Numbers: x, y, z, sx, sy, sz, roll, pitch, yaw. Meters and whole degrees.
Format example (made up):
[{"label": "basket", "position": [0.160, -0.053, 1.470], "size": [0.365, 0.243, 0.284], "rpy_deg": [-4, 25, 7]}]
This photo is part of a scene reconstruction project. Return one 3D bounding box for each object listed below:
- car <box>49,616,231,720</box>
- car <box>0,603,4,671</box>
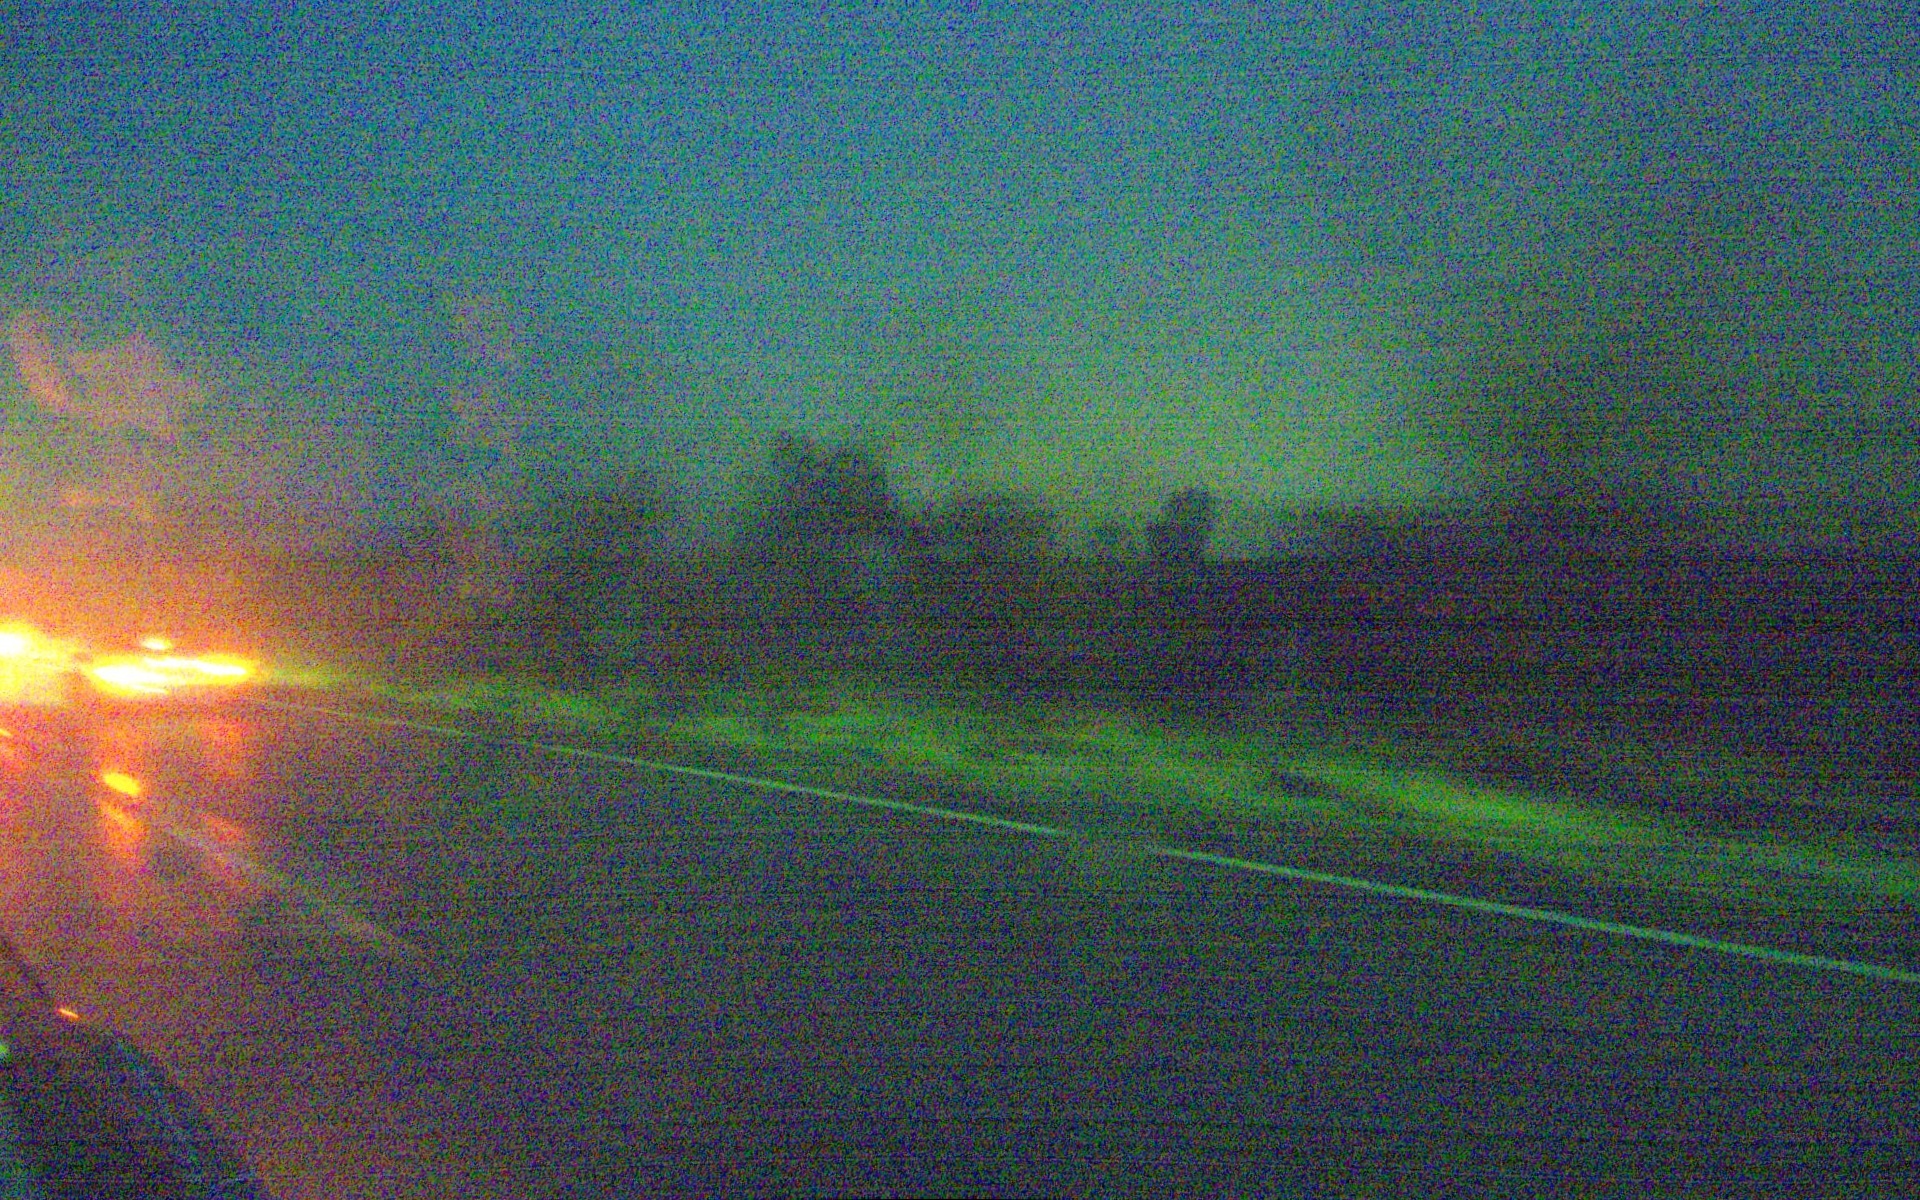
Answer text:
[{"label": "car", "position": [-12.908, 0.984, 15.874], "size": [3.468, 1.412, 1.580], "rpy_deg": [0, -2, 40]}, {"label": "car", "position": [-29.548, 1.037, 29.676], "size": [3.998, 1.943, 1.785], "rpy_deg": [0, -2, 41]}]
